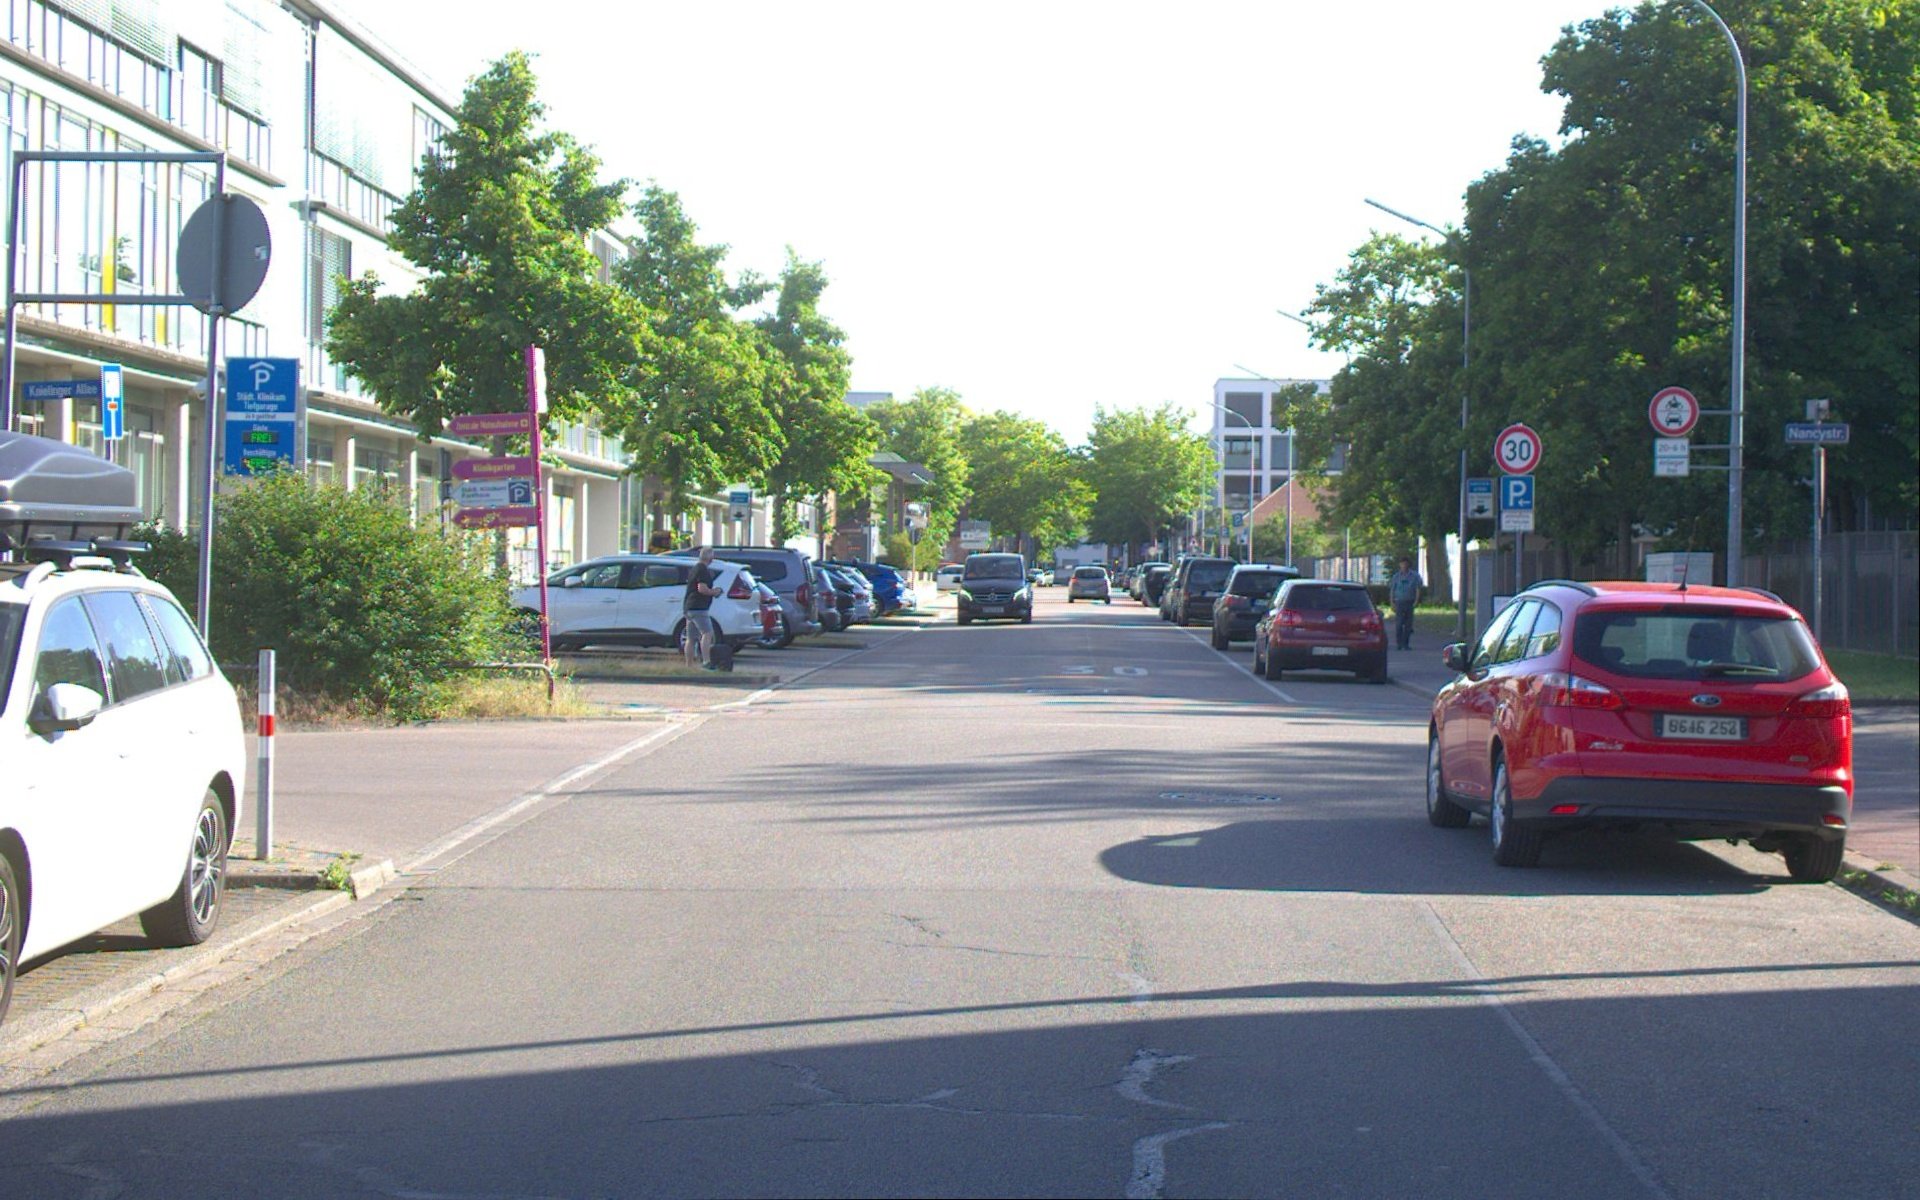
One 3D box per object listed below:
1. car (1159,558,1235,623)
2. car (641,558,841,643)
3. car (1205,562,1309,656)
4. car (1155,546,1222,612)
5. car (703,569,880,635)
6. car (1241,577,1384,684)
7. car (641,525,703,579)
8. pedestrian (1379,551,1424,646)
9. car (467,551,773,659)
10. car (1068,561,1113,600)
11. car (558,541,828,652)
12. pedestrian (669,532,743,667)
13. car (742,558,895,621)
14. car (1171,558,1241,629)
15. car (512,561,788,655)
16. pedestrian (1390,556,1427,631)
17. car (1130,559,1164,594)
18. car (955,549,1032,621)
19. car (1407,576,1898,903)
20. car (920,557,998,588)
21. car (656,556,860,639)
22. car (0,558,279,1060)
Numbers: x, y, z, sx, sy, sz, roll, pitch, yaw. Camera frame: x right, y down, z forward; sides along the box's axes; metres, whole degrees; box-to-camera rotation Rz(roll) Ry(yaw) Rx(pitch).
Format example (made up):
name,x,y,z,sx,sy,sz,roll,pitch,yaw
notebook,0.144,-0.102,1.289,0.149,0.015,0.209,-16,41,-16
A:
name,x,y,z,sx,sy,sz,roll,pitch,yaw
car,6.767,-0.280,98.410,1.993,1.816,4.198,0,1,2
car,-4.472,0.001,70.762,3.986,1.601,1.872,2,0,-1
car,5.774,0.139,67.226,1.812,1.660,4.592,2,1,3
car,6.924,-0.647,104.653,1.875,1.971,4.000,0,1,2
car,-3.879,0.043,79.470,3.986,1.354,1.743,2,0,-1
car,5.201,0.416,51.198,1.720,1.450,4.652,2,1,1
car,-11.340,-1.879,135.619,1.993,2.007,4.000,1,-1,2
pedestrian,8.312,-0.030,64.707,0.717,1.752,0.884,-2,1,3
car,-5.455,0.073,55.480,4.613,1.645,1.867,1,0,6
car,5.288,-0.794,139.769,1.743,1.538,4.000,1,0,2
car,-4.926,-0.072,63.780,4.743,1.858,1.827,2,1,3
pedestrian,-3.544,-0.006,48.066,0.858,1.836,0.825,2,0,4
car,-3.959,-0.296,96.507,4.213,1.597,1.872,2,0,-1
car,6.568,-0.191,92.172,1.733,1.824,3.905,1,0,2
car,-5.211,0.128,58.142,4.434,1.496,1.827,1,0,3
pedestrian,10.100,-0.157,77.482,0.698,1.655,0.752,-2,0,2
car,8.315,-1.059,153.267,1.436,1.555,3.042,1,1,2
car,0.934,-0.428,92.355,1.955,1.861,5.255,0,1,2
car,3.630,0.657,18.816,1.819,1.494,4.452,2,1,1
car,-0.021,-1.450,180.046,3.987,1.514,2.000,1,-1,2
car,-4.301,-0.060,73.712,4.246,1.606,2.048,2,0,-1
car,-3.734,0.613,11.831,1.696,1.508,4.517,3,0,2
